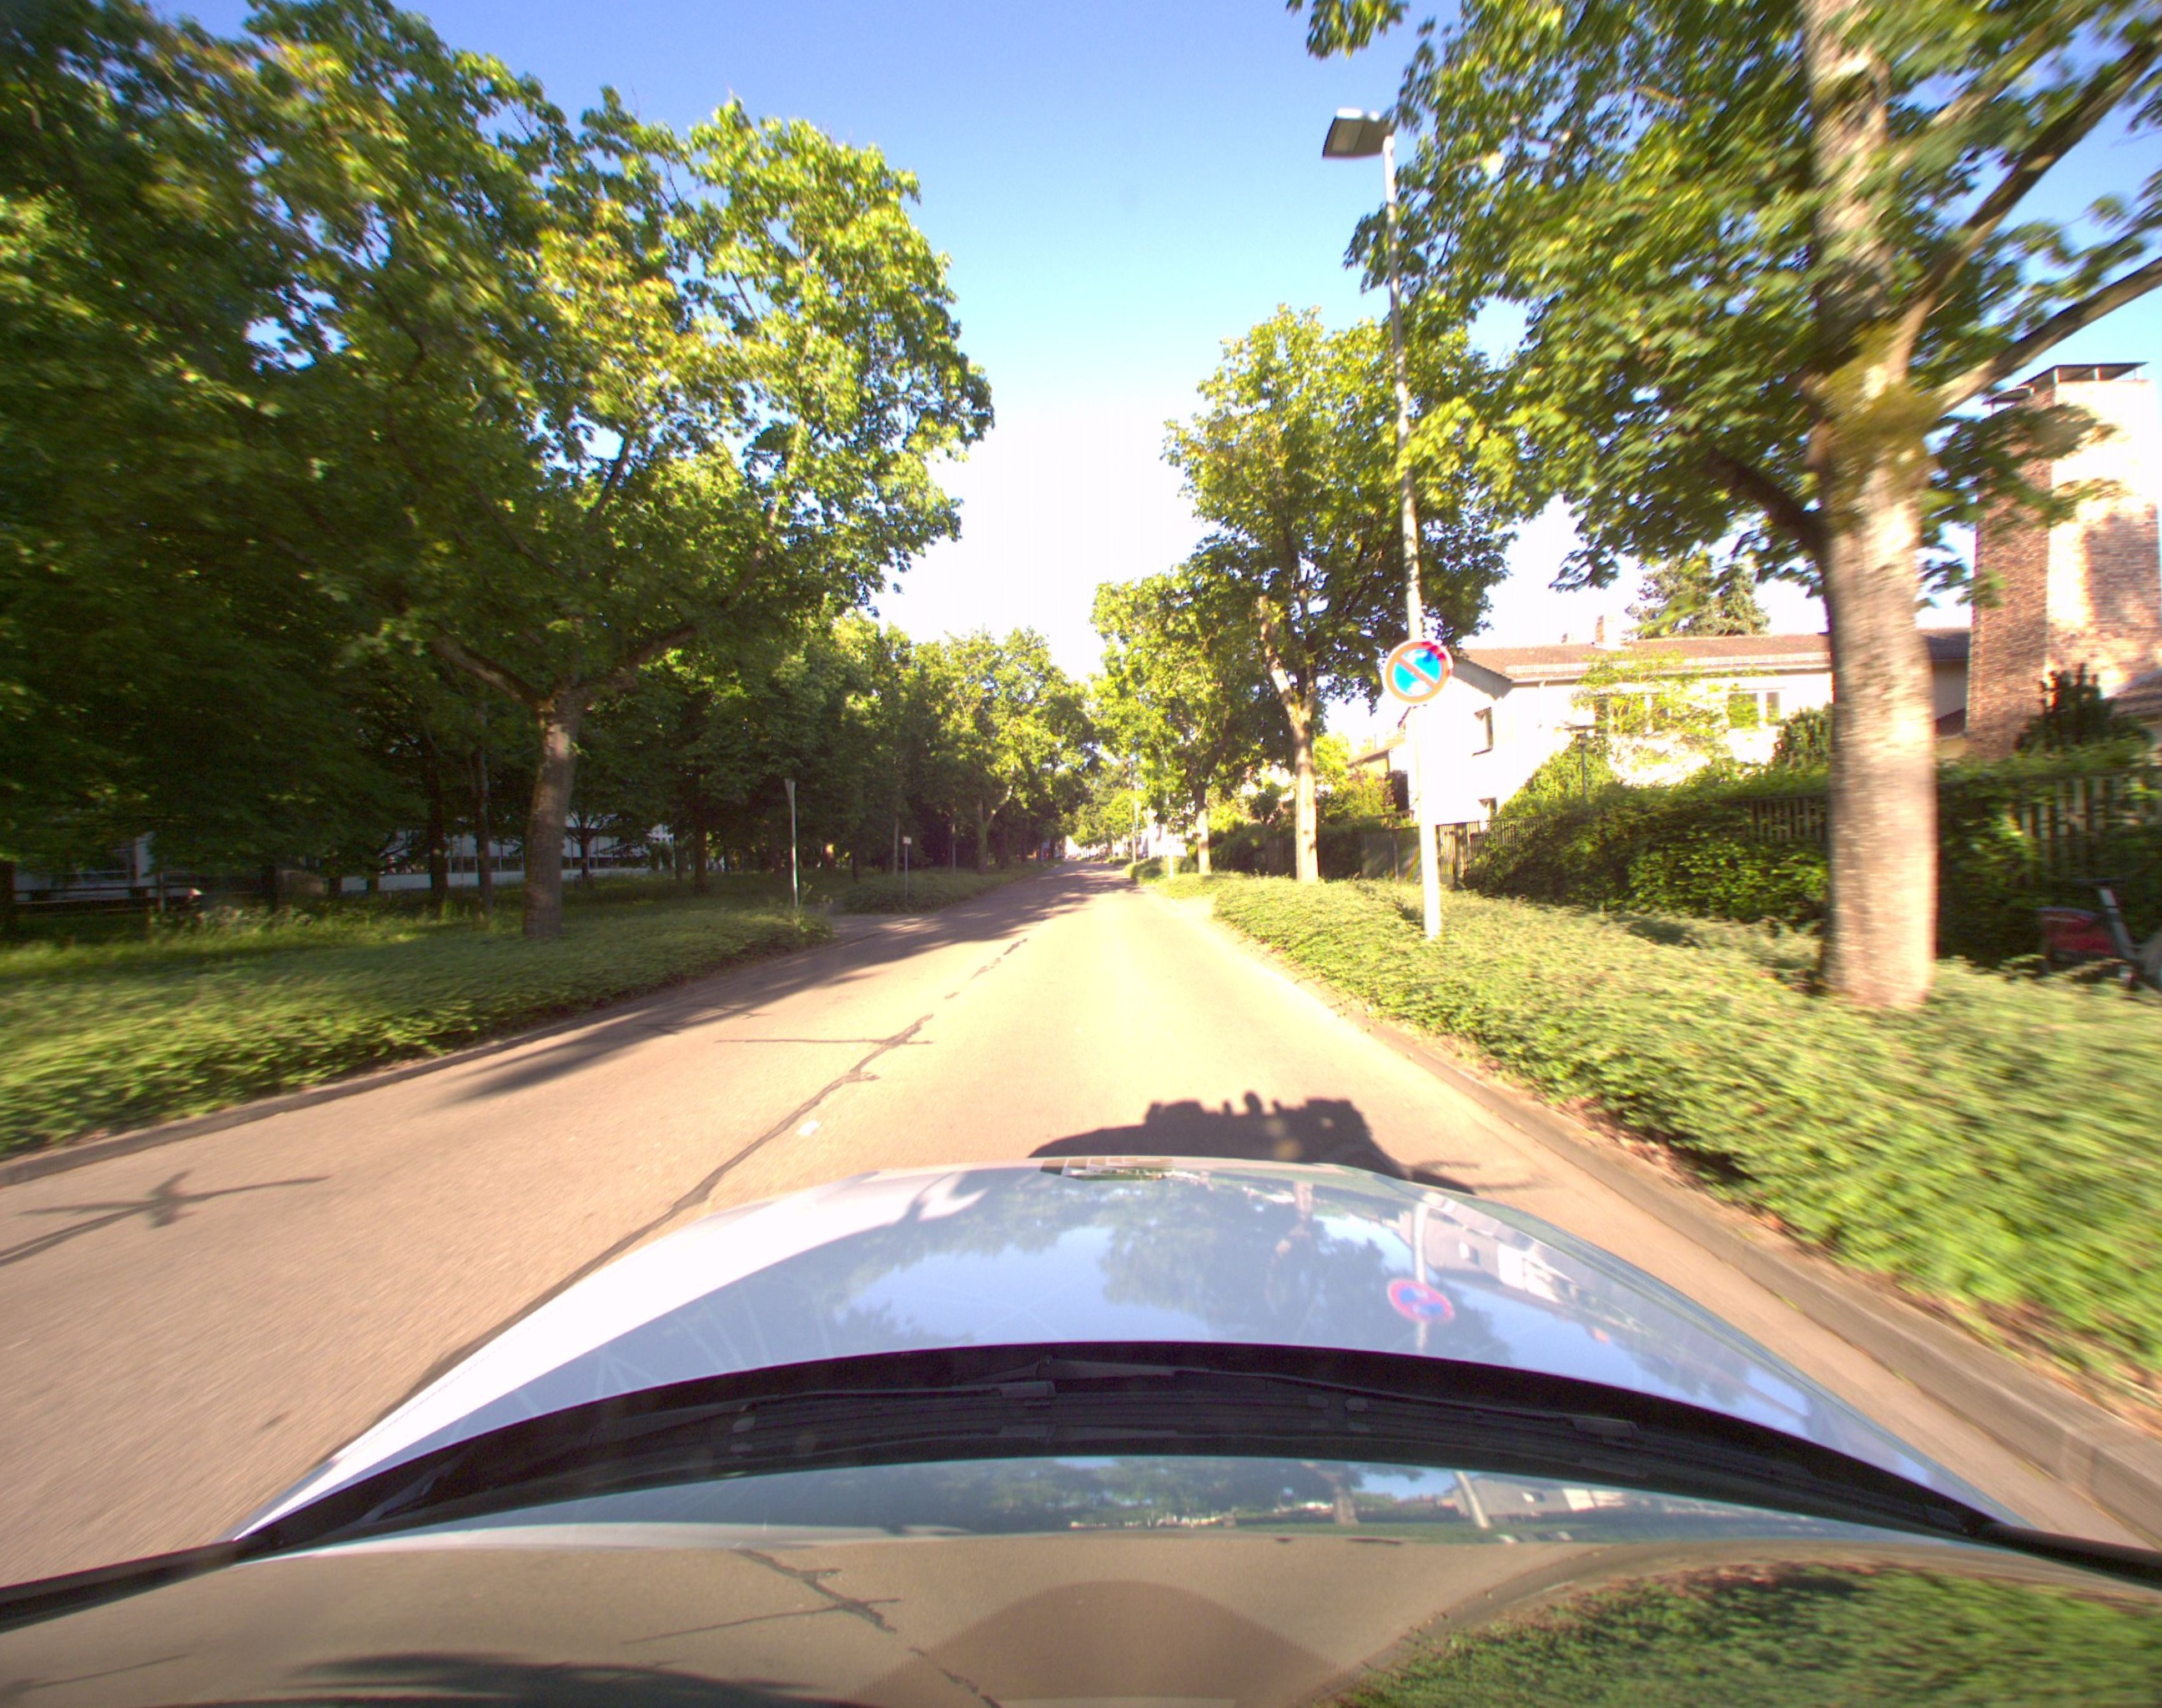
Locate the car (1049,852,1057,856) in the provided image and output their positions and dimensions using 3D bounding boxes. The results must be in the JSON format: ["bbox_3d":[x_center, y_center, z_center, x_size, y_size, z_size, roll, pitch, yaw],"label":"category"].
[{"bbox_3d":[-9.050,0.084,261.626,1.993,1.354,3.530,-1,0,-9],"label":"car"}]

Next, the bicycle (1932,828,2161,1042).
[{"bbox_3d":[7.296,0.460,5.795,0.875,1.200,2.340,-4,0,25],"label":"bicycle"}]

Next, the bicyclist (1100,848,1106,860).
[{"bbox_3d":[3.054,0.034,113.380,0.864,1.641,1.115,-1,1,0],"label":"bicyclist"}]

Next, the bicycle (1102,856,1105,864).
[{"bbox_3d":[3.152,0.832,113.385,0.437,0.978,1.662,-2,1,1],"label":"bicycle"}]

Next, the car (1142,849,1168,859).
[{"bbox_3d":[12.322,-0.050,135.251,4.327,1.353,2.148,1,4,6],"label":"car"}]
